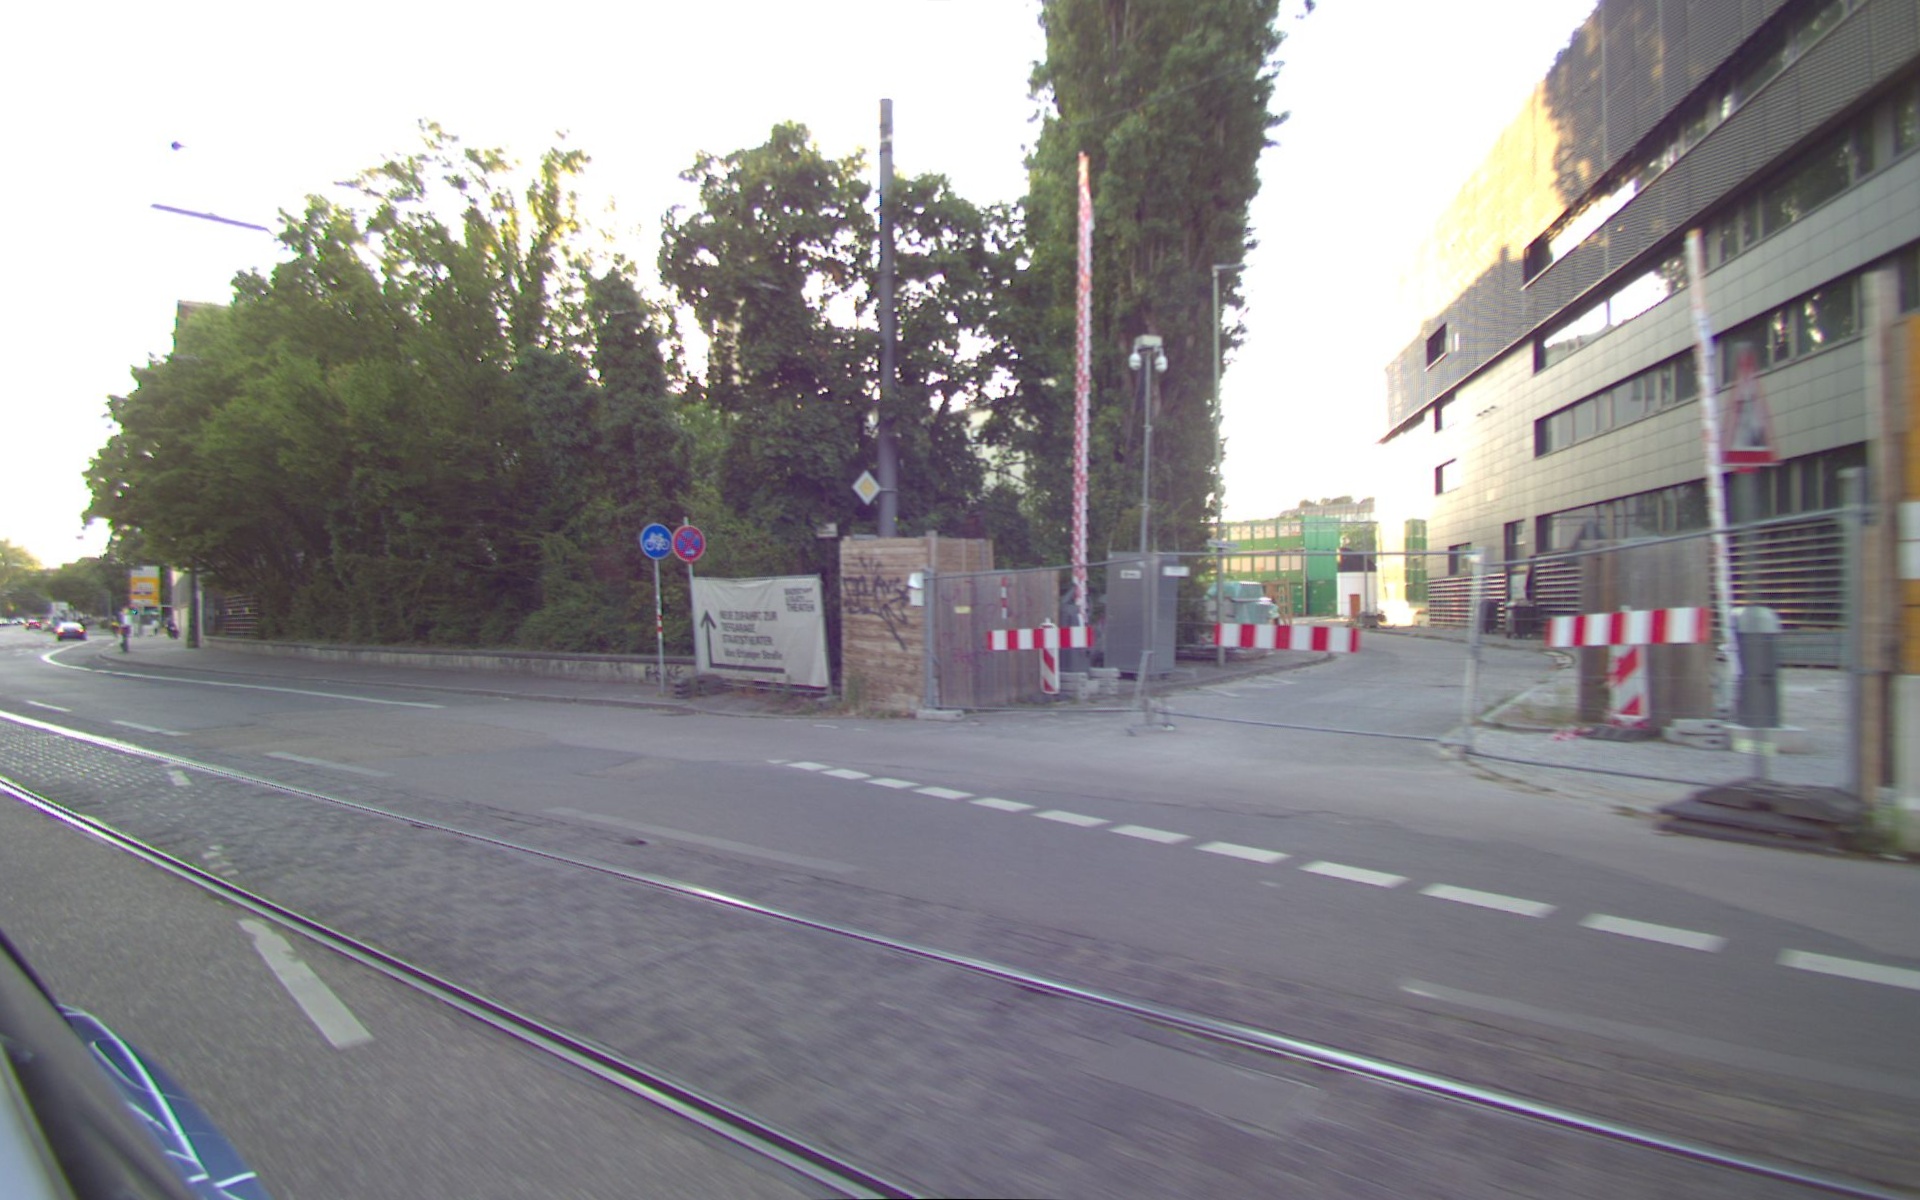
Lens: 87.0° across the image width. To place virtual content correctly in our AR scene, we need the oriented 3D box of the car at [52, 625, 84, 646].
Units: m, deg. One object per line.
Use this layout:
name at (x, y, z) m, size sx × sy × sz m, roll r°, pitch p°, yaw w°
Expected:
car at (-76.054, 3.038, 86.247) m, size 1.970 × 1.697 × 4.004 m, roll 0°, pitch -1°, yaw -43°

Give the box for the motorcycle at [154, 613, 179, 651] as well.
motorcycle at (-53.067, 2.129, 67.666) m, size 1.008 × 2.461 × 2.669 m, roll 0°, pitch -1°, yaw -44°
